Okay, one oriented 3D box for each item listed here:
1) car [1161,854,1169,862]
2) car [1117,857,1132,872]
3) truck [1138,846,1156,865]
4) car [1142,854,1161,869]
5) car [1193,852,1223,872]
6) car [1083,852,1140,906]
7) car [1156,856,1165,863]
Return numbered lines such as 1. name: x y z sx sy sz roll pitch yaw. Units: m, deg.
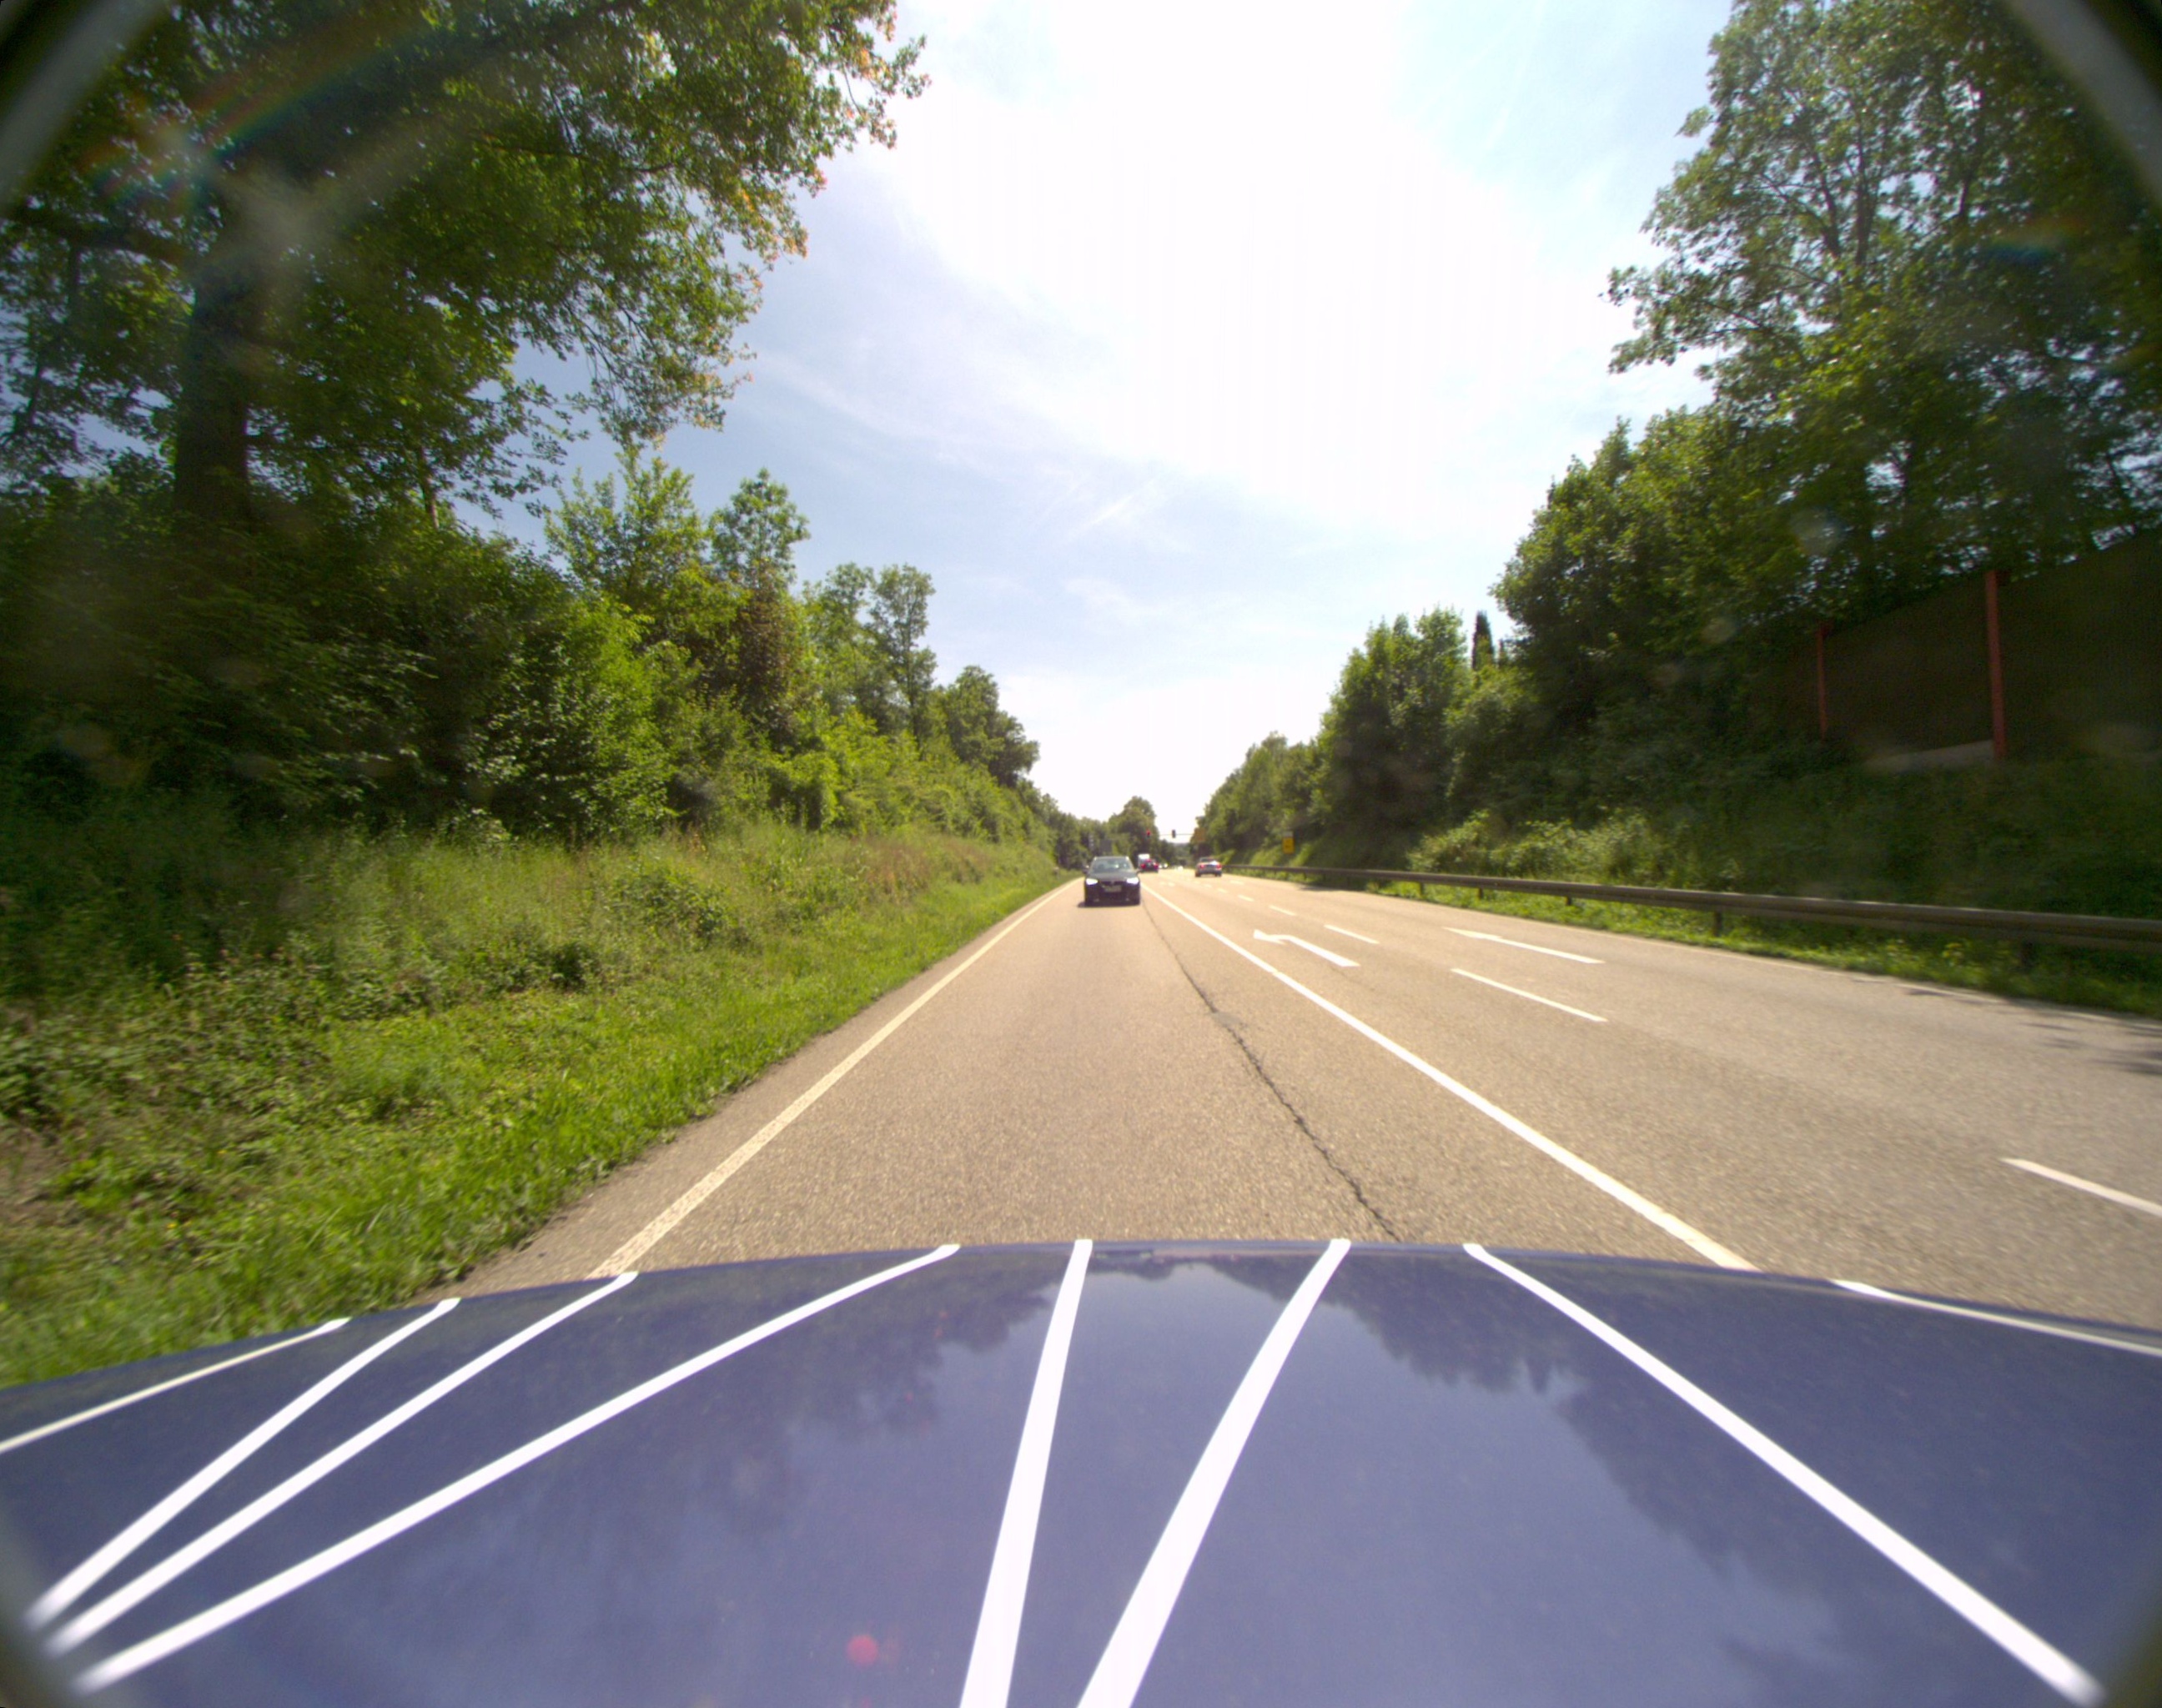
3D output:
1. car: 23.848 1.138 215.020 1.997 2.001 4.003 -4 -1 8
2. car: 6.607 1.575 114.460 1.998 2.001 4.002 -4 -1 5
3. truck: 14.563 0.225 167.984 2.838 3.794 8.456 -3 1 11
4. car: 7.449 0.805 80.453 1.808 1.444 4.388 -2 0 5
5. car: 9.432 0.554 56.605 1.810 1.427 3.872 -1 0 3
6. car: 0.996 0.754 24.800 1.626 1.535 4.001 -2 0 2
7. car: 21.193 1.449 201.988 1.997 1.791 4.003 -4 -1 8
